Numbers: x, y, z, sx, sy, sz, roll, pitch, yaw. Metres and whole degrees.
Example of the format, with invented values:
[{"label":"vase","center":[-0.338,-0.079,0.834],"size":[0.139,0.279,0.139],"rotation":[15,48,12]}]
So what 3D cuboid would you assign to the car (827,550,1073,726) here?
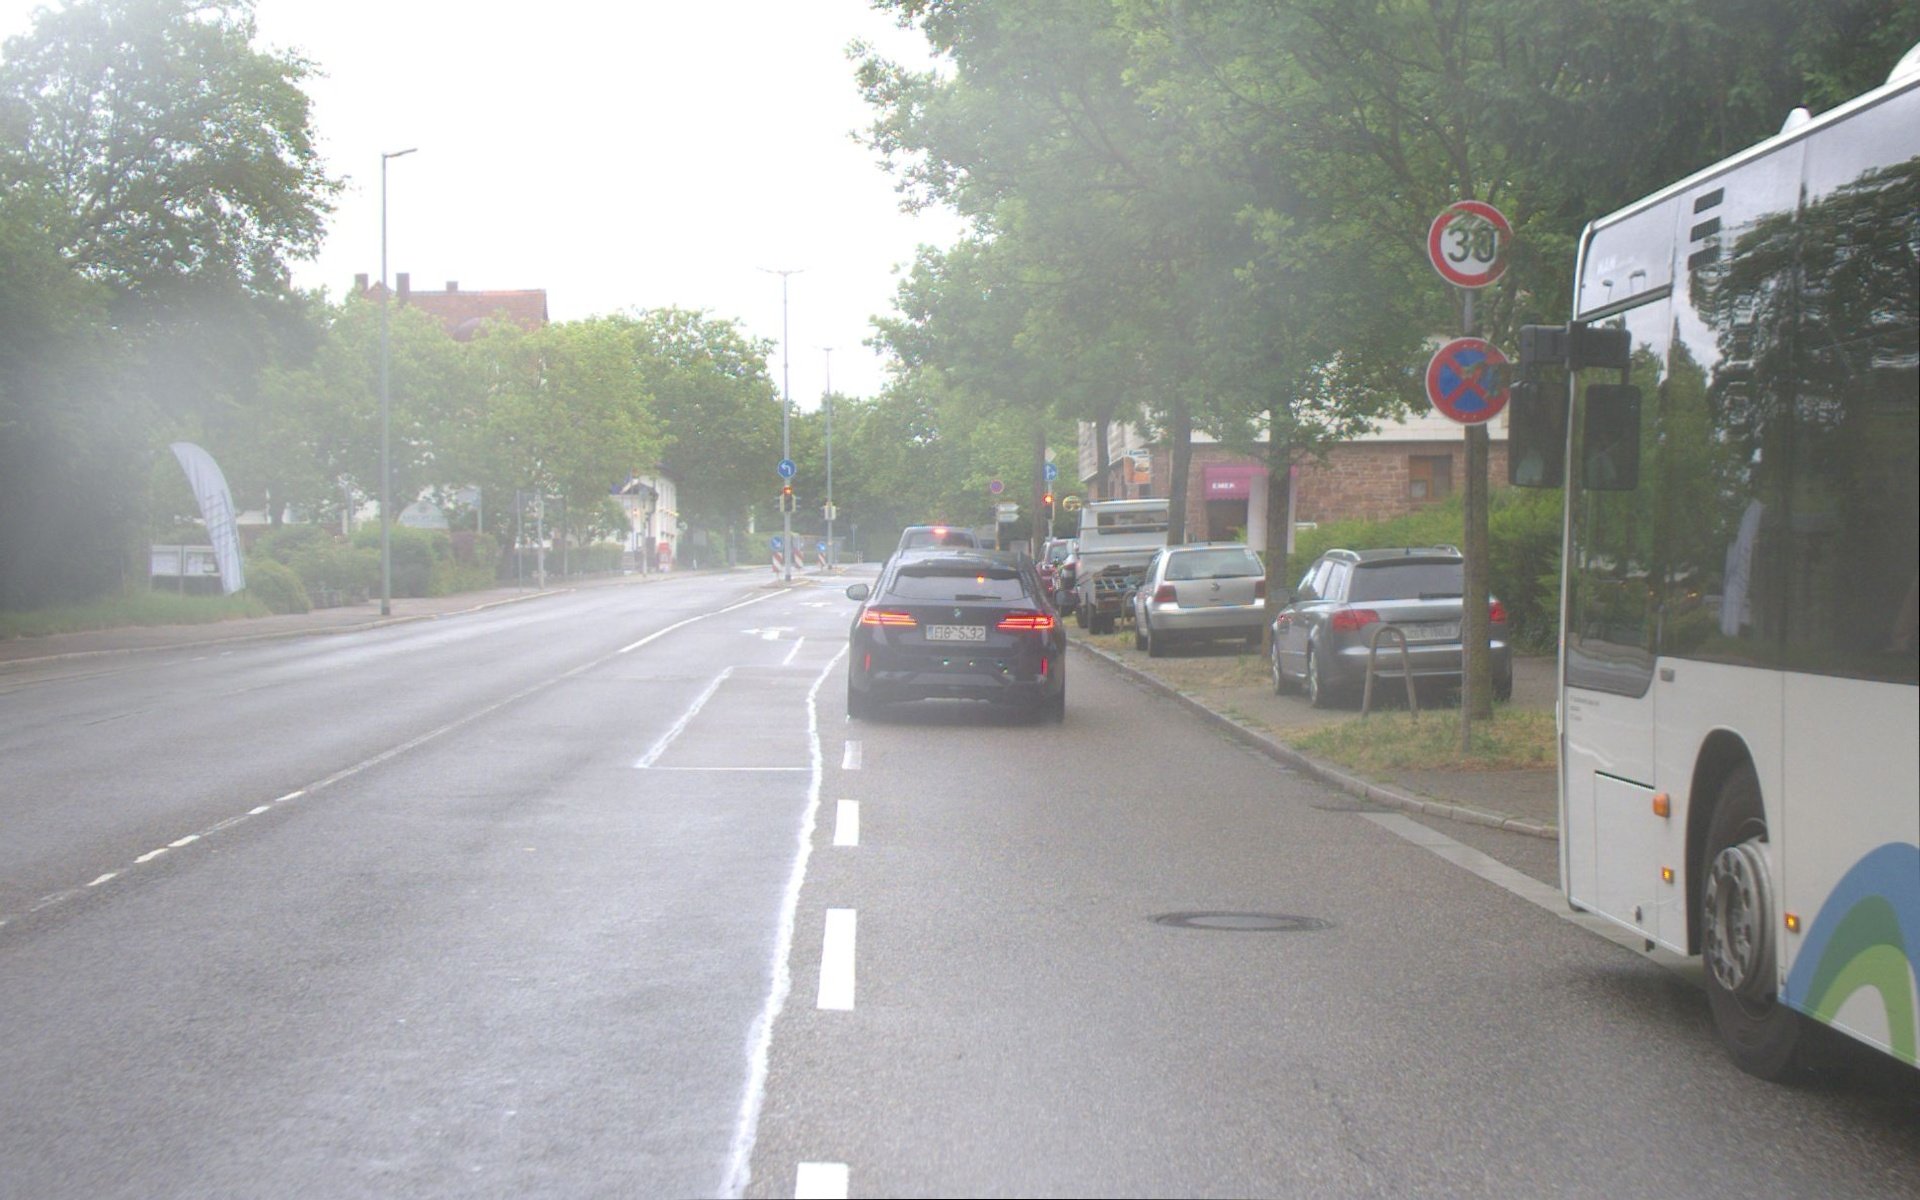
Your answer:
[{"label":"car","center":[-0.167,0.293,31.266],"size":[2.064,1.441,4.484],"rotation":[1,1,-2]}]

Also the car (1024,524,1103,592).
[{"label":"car","center":[2.492,-1.044,83.227],"size":[1.584,1.485,3.628],"rotation":[-3,2,-2]}]

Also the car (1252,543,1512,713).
[{"label":"car","center":[3.845,0.205,32.000],"size":[1.688,1.385,4.500],"rotation":[-2,1,-2]}]

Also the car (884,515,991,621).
[{"label":"car","center":[-0.430,-0.605,60.963],"size":[1.783,1.811,4.001],"rotation":[0,1,-2]}]

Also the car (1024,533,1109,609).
[{"label":"car","center":[2.270,-0.642,73.958],"size":[1.604,1.467,3.856],"rotation":[-4,1,0]}]

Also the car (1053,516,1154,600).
[{"label":"car","center":[2.806,-0.853,67.779],"size":[1.714,1.493,4.184],"rotation":[-3,1,0]}]

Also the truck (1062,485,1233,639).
[{"label":"truck","center":[2.930,-0.653,55.302],"size":[2.080,2.214,6.502],"rotation":[-3,1,-2]}]

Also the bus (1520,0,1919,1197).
[{"label":"bus","center":[3.510,-0.089,7.987],"size":[2.556,2.949,9.451],"rotation":[0,1,-2]}]

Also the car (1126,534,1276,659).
[{"label":"car","center":[3.145,-0.085,45.515],"size":[1.601,1.431,4.022],"rotation":[-4,2,0]}]
